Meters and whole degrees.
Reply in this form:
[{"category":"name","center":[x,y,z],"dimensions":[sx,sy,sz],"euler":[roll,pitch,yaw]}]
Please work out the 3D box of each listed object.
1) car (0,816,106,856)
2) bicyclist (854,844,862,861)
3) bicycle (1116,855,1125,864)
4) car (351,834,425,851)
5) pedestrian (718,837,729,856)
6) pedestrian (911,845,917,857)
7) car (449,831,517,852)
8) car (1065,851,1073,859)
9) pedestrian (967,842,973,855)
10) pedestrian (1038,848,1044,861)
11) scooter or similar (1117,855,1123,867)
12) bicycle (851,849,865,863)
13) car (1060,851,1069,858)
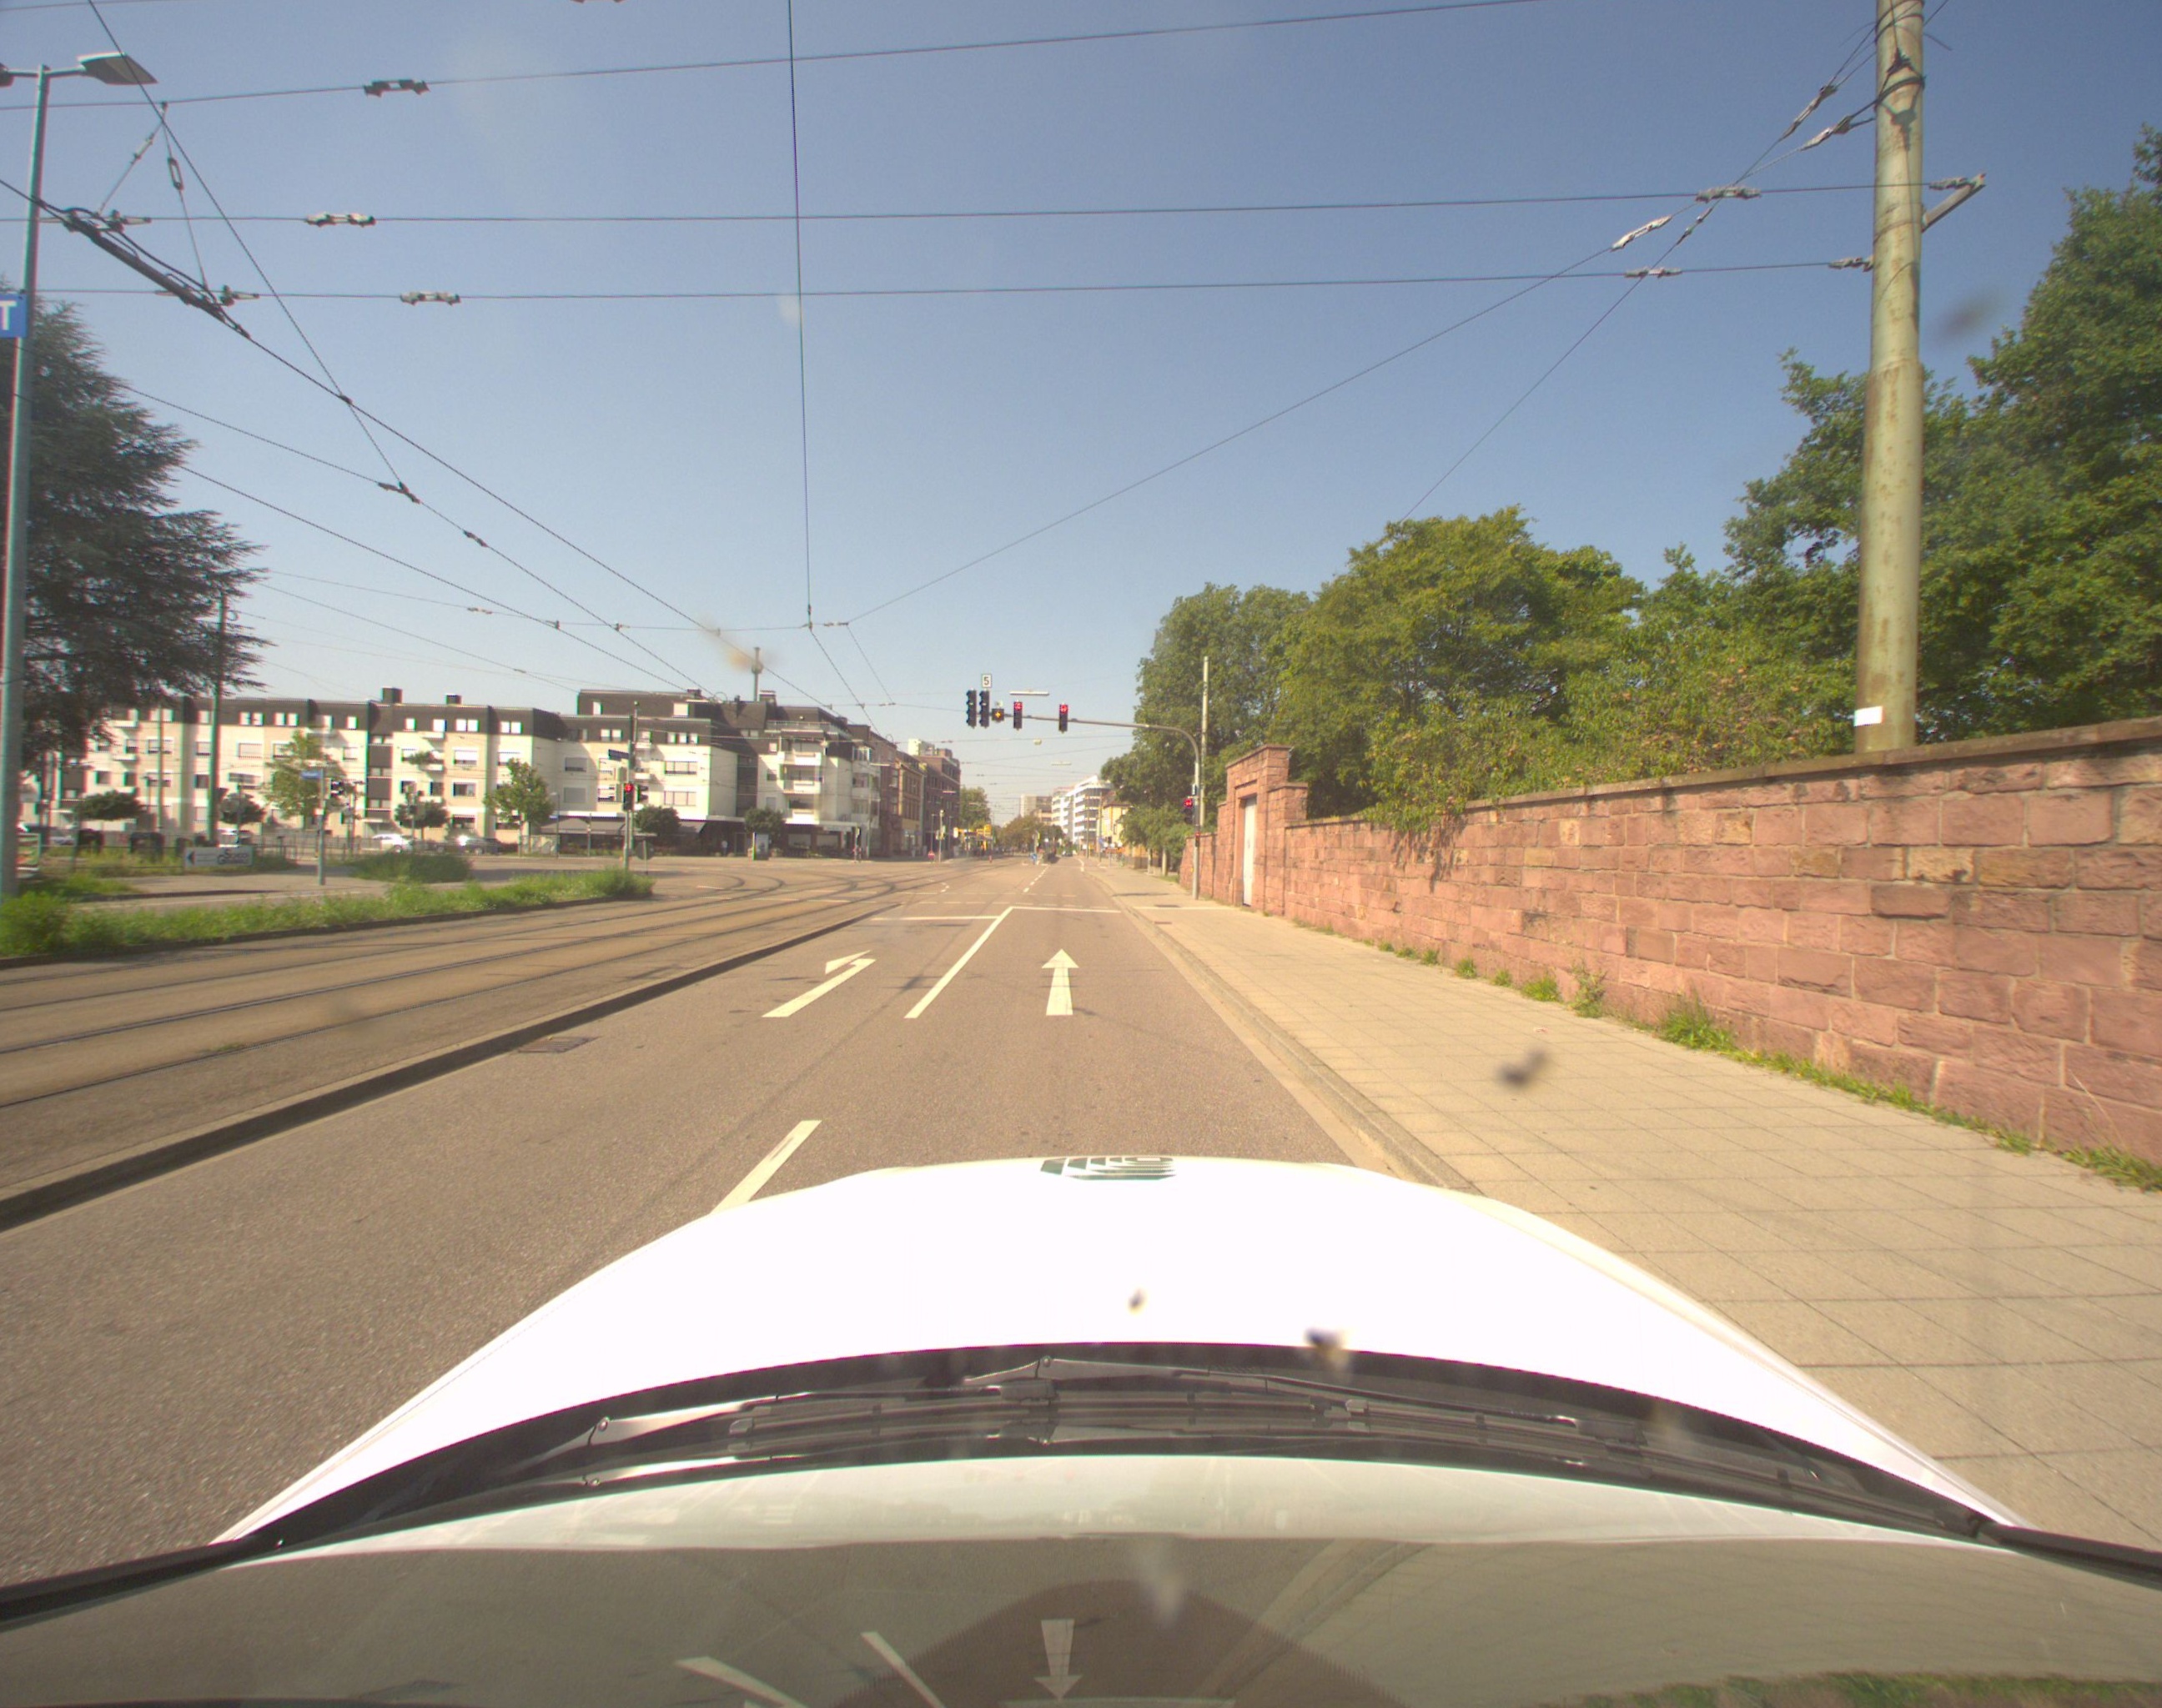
[{"category":"car","center":[-54.283,-0.939,42.707],"dimensions":[3.999,1.886,1.824],"euler":[2,0,0]},{"category":"bicyclist","center":[-20.139,-0.152,73.488],"dimensions":[0.566,1.523,0.490],"euler":[0,0,0]},{"category":"bicycle","center":[5.420,0.738,112.950],"dimensions":[0.730,1.132,2.832],"euler":[-2,0,-8]},{"category":"car","center":[-52.771,-0.854,62.025],"dimensions":[4.098,1.299,1.672],"euler":[0,0,-2]},{"category":"pedestrian","center":[-33.004,-0.705,75.126],"dimensions":[0.677,1.741,0.698],"euler":[0,0,0]},{"category":"pedestrian","center":[-22.810,-0.416,111.341],"dimensions":[0.480,1.560,0.889],"euler":[3,-1,10]},{"category":"car","center":[-50.145,-1.018,68.363],"dimensions":[4.098,1.507,1.929],"euler":[3,0,-2]},{"category":"car","center":[-3.015,0.210,202.267],"dimensions":[2.005,1.859,4.000],"euler":[0,0,0]},{"category":"pedestrian","center":[-15.029,-0.775,110.748],"dimensions":[0.705,1.723,0.799],"euler":[0,0,-1]},{"category":"pedestrian","center":[-5.272,0.067,106.577],"dimensions":[0.717,1.703,0.884],"euler":[0,0,0]},{"category":"scooter or similar","center":[3.909,0.676,81.031],"dimensions":[0.521,1.133,1.511],"euler":[0,0,0]},{"category":"bicycle","center":[-20.140,0.178,73.495],"dimensions":[0.573,1.179,2.208],"euler":[0,0,1]},{"category":"car","center":[-4.238,0.067,208.441],"dimensions":[2.005,1.859,4.000],"euler":[0,0,0]}]
